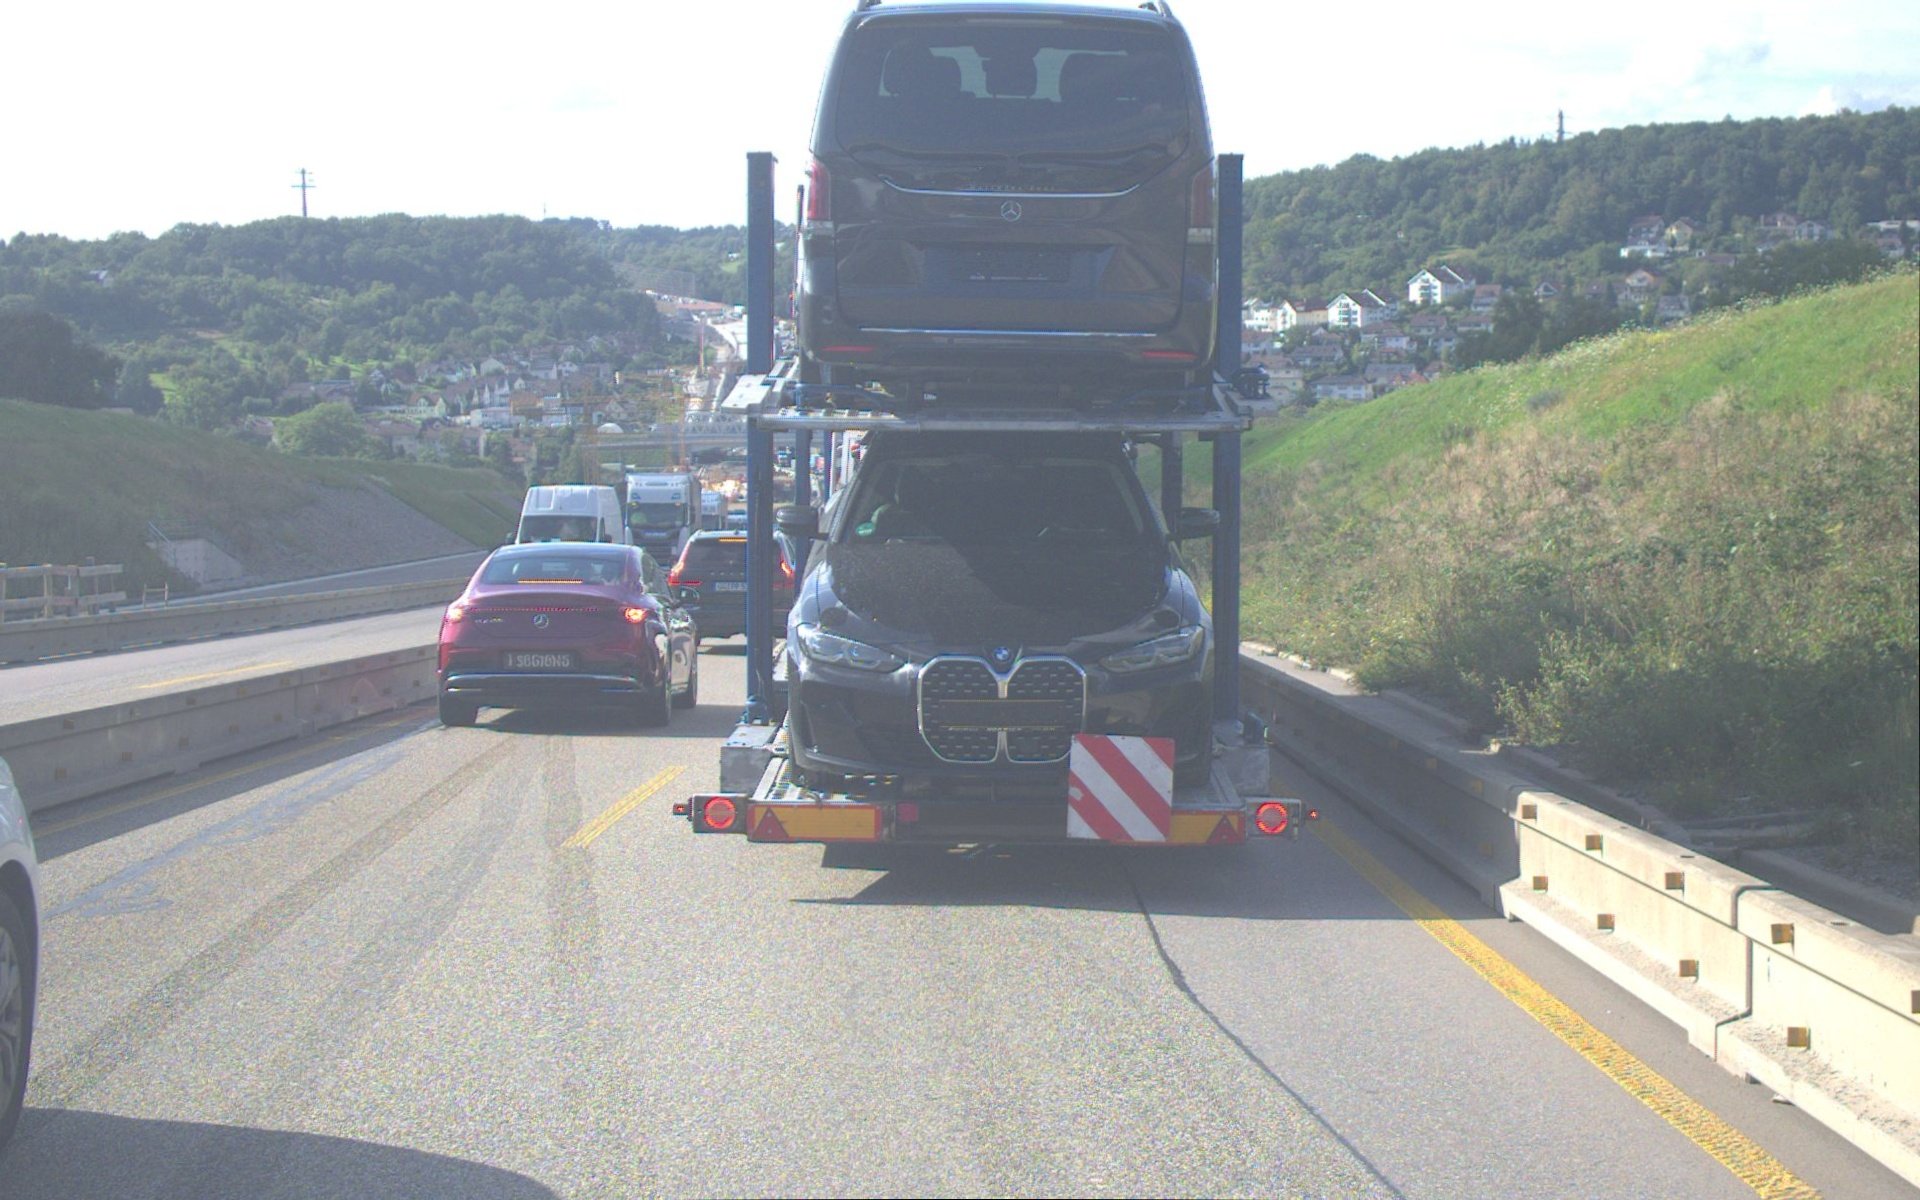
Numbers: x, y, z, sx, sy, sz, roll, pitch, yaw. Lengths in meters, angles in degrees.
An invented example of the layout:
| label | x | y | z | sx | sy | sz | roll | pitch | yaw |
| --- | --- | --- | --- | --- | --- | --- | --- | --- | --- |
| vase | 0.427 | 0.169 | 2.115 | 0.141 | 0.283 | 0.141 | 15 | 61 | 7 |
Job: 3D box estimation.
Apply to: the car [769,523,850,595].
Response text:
| label | x | y | z | sx | sy | sz | roll | pitch | yaw |
| --- | --- | --- | --- | --- | --- | --- | --- | --- | --- |
| car | -3.437 | -0.968 | 79.071 | 1.796 | 1.591 | 4.743 | 0 | 1 | -2 |

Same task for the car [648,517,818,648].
| label | x | y | z | sx | sy | sz | roll | pitch | yaw |
| --- | --- | --- | --- | --- | --- | --- | --- | --- | --- |
| car | -3.012 | -0.277 | 46.567 | 1.993 | 1.619 | 4.750 | 2 | 1 | -1 |

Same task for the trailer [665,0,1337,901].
| label | x | y | z | sx | sy | sz | roll | pitch | yaw |
| --- | --- | --- | --- | --- | --- | --- | --- | --- | --- |
| trailer | 0.162 | -0.908 | 19.580 | 2.708 | 4.015 | 11.420 | 0 | 1 | 0 |

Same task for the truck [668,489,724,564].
| label | x | y | z | sx | sy | sz | roll | pitch | yaw |
| --- | --- | --- | --- | --- | --- | --- | --- | --- | --- |
| truck | -14.830 | -4.151 | 193.691 | 2.638 | 4.085 | 10.820 | 0 | 1 | -2 |

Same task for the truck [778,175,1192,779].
| label | x | y | z | sx | sy | sz | roll | pitch | yaw |
| --- | --- | --- | --- | --- | --- | --- | --- | --- | --- |
| truck | 0.133 | -0.855 | 25.269 | 2.678 | 3.908 | 6.028 | 0 | 1 | -1 |

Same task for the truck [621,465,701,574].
| label | x | y | z | sx | sy | sz | roll | pitch | yaw |
| --- | --- | --- | --- | --- | --- | --- | --- | --- | --- |
| truck | -11.656 | -3.134 | 134.255 | 2.614 | 4.139 | 5.781 | 0 | 1 | 0 |

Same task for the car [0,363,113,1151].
| label | x | y | z | sx | sy | sz | roll | pitch | yaw |
| --- | --- | --- | --- | --- | --- | --- | --- | --- | --- |
| car | -3.113 | 0.382 | 6.650 | 1.823 | 1.817 | 4.456 | 1 | 2 | 0 |

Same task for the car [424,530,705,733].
| label | x | y | z | sx | sy | sz | roll | pitch | yaw |
| --- | --- | --- | --- | --- | --- | --- | --- | --- | --- |
| car | -3.203 | 0.191 | 28.672 | 1.823 | 1.487 | 4.685 | 1 | 2 | -1 |

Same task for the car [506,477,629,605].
| label | x | y | z | sx | sy | sz | roll | pitch | yaw |
| --- | --- | --- | --- | --- | --- | --- | --- | --- | --- |
| car | -9.243 | -1.391 | 81.405 | 2.110 | 2.826 | 6.139 | -3 | 1 | 0 |
